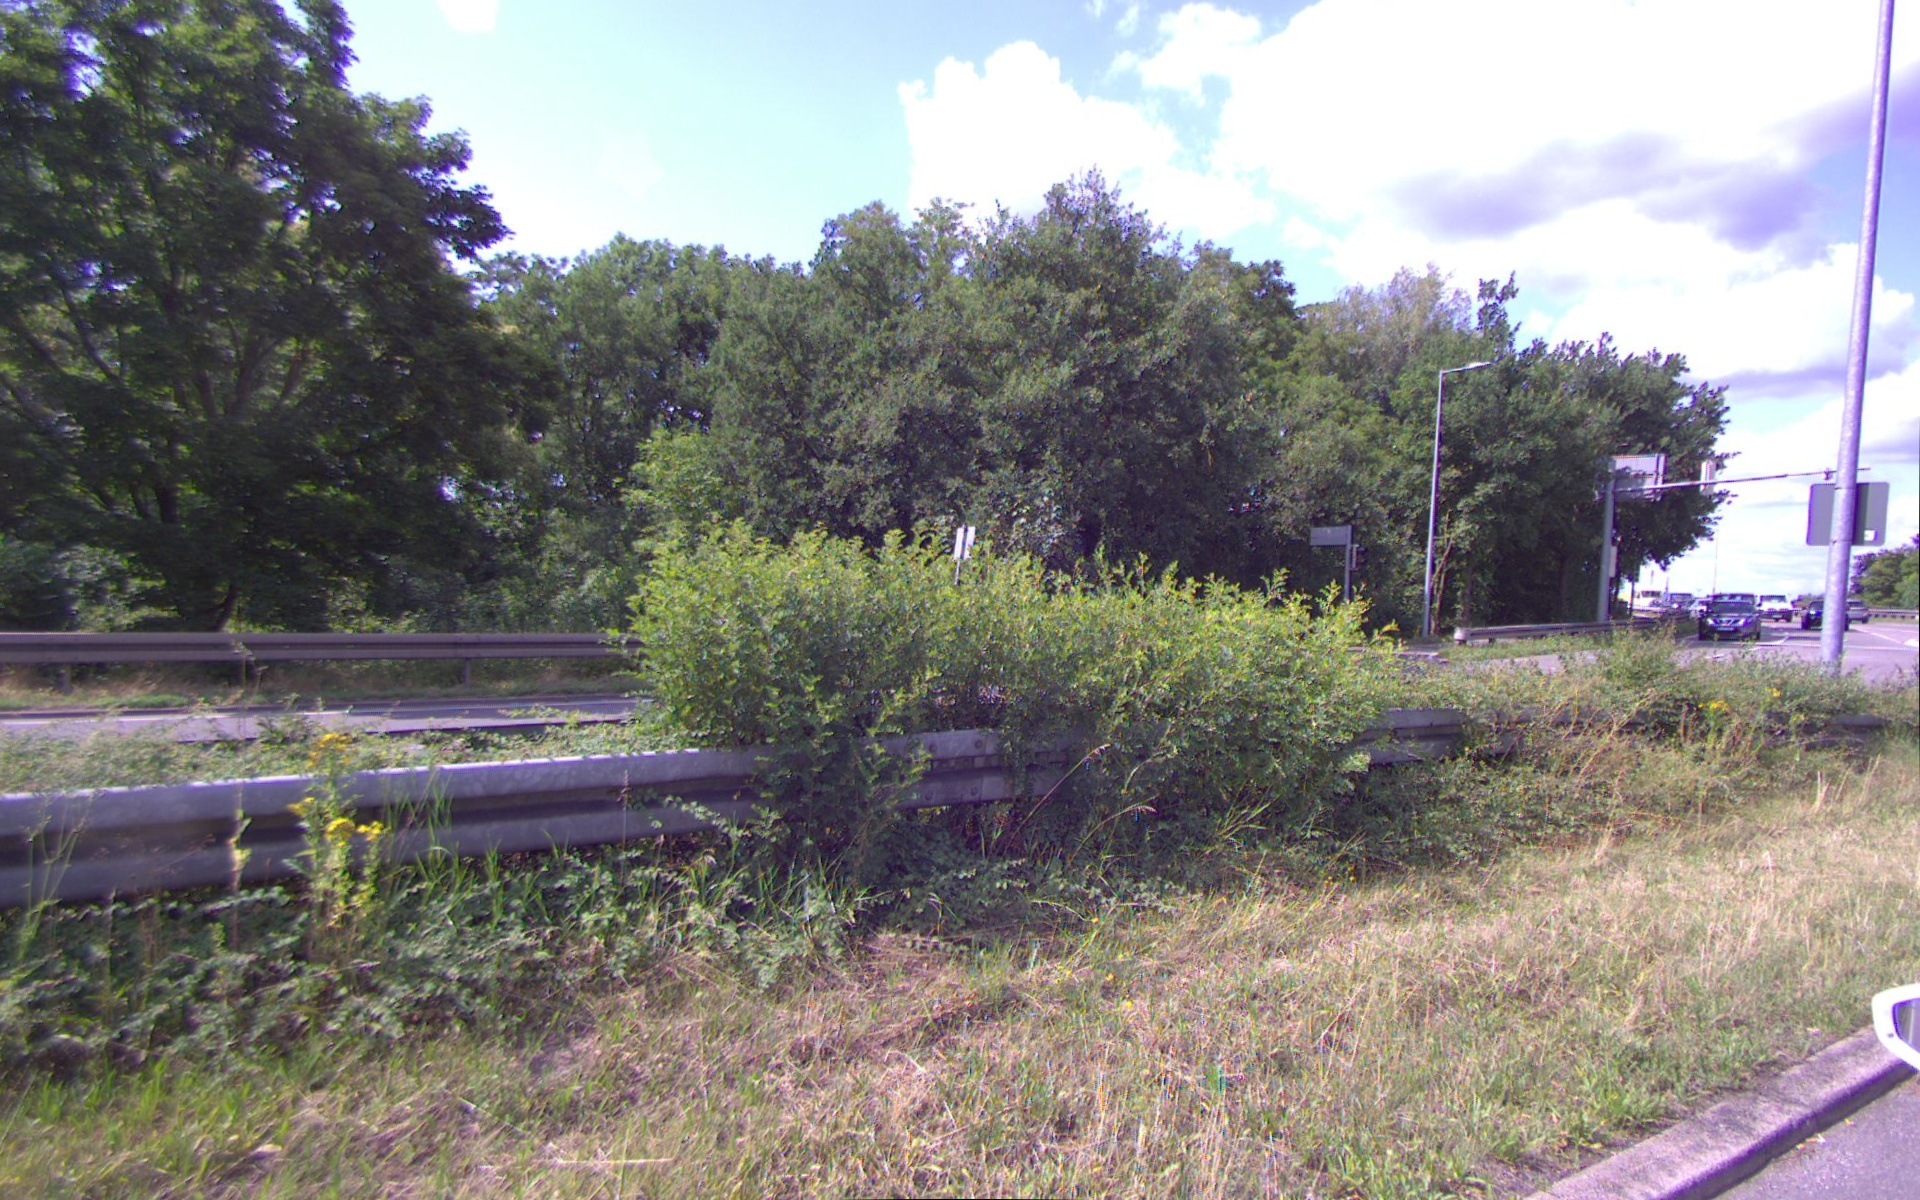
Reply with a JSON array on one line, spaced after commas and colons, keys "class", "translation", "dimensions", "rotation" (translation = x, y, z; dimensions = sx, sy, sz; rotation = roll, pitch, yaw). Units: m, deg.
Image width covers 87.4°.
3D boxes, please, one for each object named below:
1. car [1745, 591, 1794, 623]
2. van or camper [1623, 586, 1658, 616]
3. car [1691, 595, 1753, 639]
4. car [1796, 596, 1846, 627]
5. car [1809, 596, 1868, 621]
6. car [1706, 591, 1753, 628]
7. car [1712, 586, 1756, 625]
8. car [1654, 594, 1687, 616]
[{"class": "car", "translation": [55.157, 0.470, 68.507], "dimensions": [1.965, 2.041, 4.459], "rotation": [2, 1, 31]}, {"class": "van or camper", "translation": [64.693, 0.056, 95.527], "dimensions": [1.963, 2.719, 6.852], "rotation": [2, 1, 28]}, {"class": "car", "translation": [30.703, 0.690, 40.418], "dimensions": [1.816, 1.639, 3.982], "rotation": [2, 0, 39]}, {"class": "car", "translation": [45.535, 0.606, 53.188], "dimensions": [1.709, 1.516, 4.031], "rotation": [2, 1, 37]}, {"class": "car", "translation": [58.584, 0.551, 67.084], "dimensions": [1.963, 1.516, 4.114], "rotation": [2, 1, 27]}, {"class": "car", "translation": [39.958, 0.483, 52.130], "dimensions": [1.820, 1.826, 4.307], "rotation": [2, 1, 39]}, {"class": "car", "translation": [44.864, 0.333, 58.264], "dimensions": [1.819, 2.128, 4.311], "rotation": [2, 1, 36]}, {"class": "car", "translation": [58.032, 0.398, 82.081], "dimensions": [1.817, 1.728, 4.316], "rotation": [2, 1, 32]}]
